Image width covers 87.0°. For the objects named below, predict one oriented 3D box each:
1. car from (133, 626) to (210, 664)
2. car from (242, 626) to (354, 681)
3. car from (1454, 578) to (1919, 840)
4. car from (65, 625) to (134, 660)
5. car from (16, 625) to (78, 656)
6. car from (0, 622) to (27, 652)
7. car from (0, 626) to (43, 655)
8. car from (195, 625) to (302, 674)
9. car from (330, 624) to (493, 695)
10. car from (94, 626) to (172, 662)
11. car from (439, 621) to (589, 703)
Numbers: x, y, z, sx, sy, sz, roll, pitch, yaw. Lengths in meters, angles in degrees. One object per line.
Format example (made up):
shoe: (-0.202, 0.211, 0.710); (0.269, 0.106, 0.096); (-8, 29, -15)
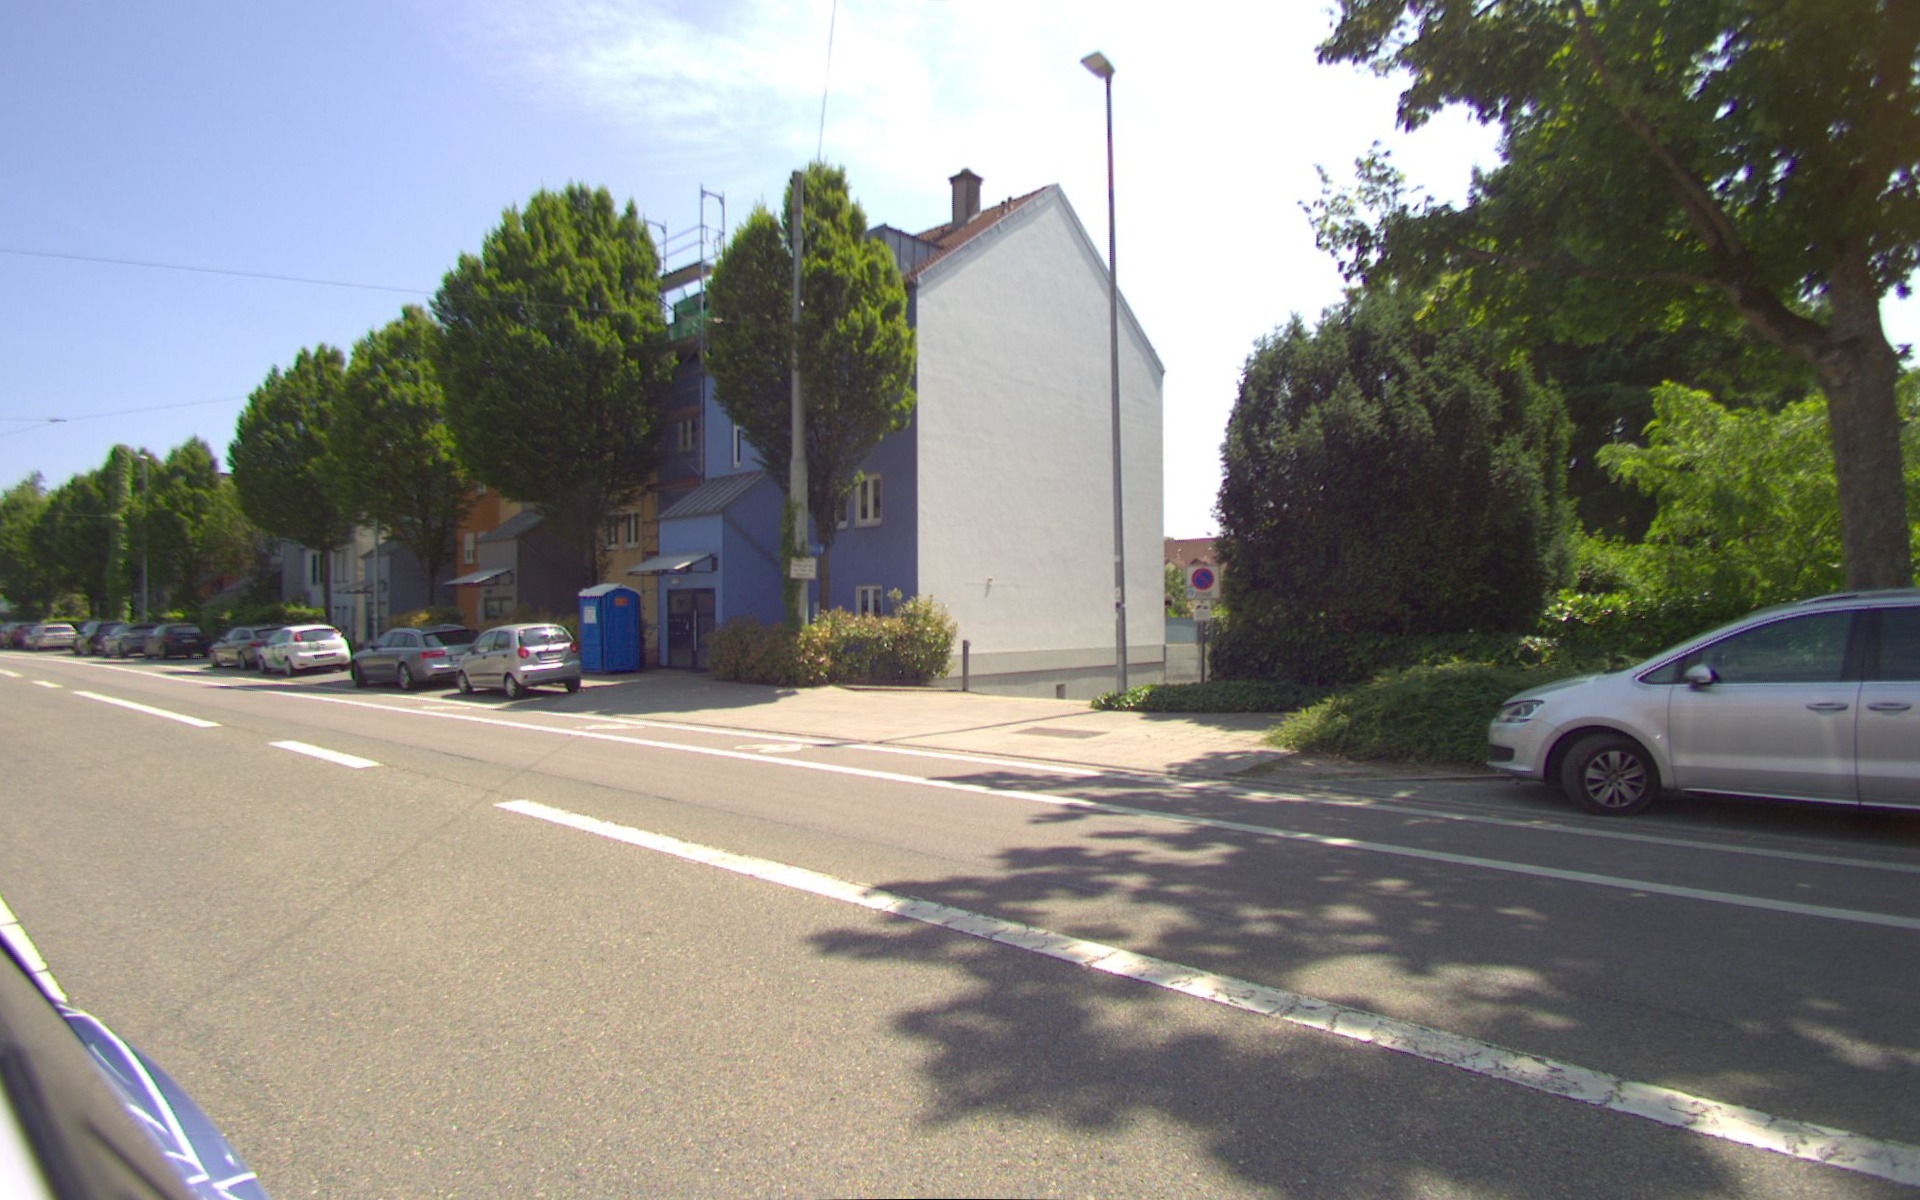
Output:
car: (-33.472, 1.884, 42.915); (4.254, 1.443, 1.732); (-1, 1, 40)
car: (-21.027, 1.654, 32.080); (4.417, 1.453, 1.729); (-2, 3, 41)
car: (6.472, 0.707, 7.444); (4.778, 1.677, 1.853); (-2, -1, 41)
car: (-42.274, 2.069, 49.694); (4.142, 1.601, 1.750); (-2, 0, 38)
car: (-51.168, 2.259, 56.693); (4.490, 1.594, 1.823); (-2, 0, 38)
car: (-60.185, 2.317, 63.207); (4.548, 1.808, 1.976); (-1, -1, 35)
car: (-56.024, 2.394, 60.062); (3.673, 1.606, 1.586); (-2, 0, 35)
car: (-25.022, 1.711, 35.518); (4.744, 1.440, 1.688); (-2, 3, 38)
car: (-13.809, 1.452, 25.354); (5.129, 1.461, 1.769); (-2, 2, 40)
car: (-37.694, 1.987, 46.105); (4.752, 1.507, 1.807); (-2, 0, 39)
car: (-9.693, 1.283, 21.914); (3.447, 1.506, 1.577); (-2, 3, 41)
